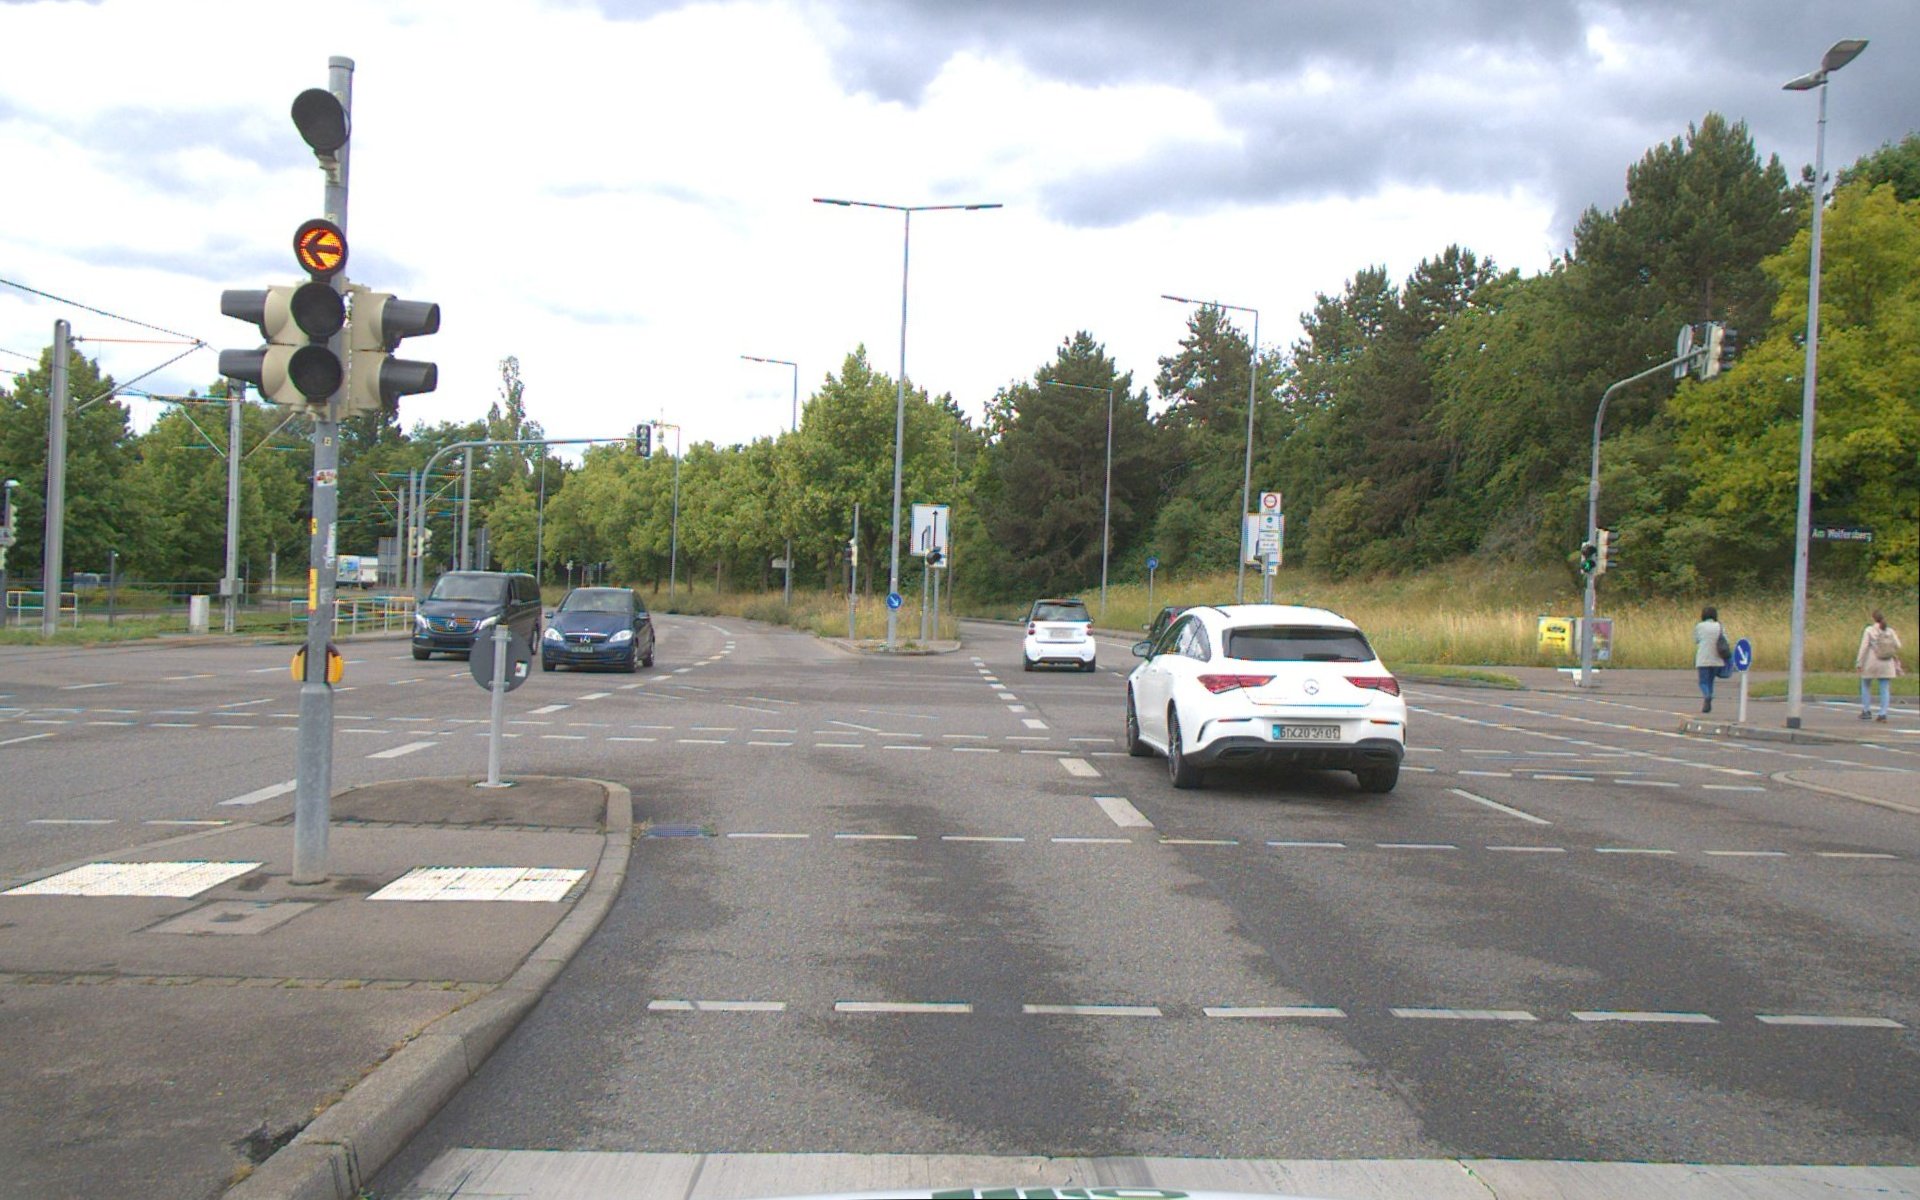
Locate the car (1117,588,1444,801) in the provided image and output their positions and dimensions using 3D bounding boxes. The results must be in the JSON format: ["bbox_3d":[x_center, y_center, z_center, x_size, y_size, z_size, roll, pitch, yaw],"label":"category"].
[{"bbox_3d":[2.565,0.703,14.354,1.807,1.533,4.529,1,0,-2],"label":"car"}]

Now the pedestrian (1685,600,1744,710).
[{"bbox_3d":[11.758,0.848,25.789,0.630,1.691,0.714,1,-1,6],"label":"pedestrian"}]

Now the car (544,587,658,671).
[{"bbox_3d":[-6.971,0.541,32.409,1.702,1.535,3.656,1,0,-5],"label":"car"}]

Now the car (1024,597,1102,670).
[{"bbox_3d":[2.256,0.729,36.792,1.559,1.543,2.766,1,0,0],"label":"car"}]

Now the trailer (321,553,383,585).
[{"bbox_3d":[-61.661,-3.138,167.772,5.956,3.065,2.749,1,-1,31],"label":"trailer"}]

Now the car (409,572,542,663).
[{"bbox_3d":[-10.518,0.348,36.251,1.851,1.844,5.086,0,0,-5],"label":"car"}]

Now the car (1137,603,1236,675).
[{"bbox_3d":[4.902,0.817,36.259,1.580,1.479,3.881,1,0,-1],"label":"car"}]

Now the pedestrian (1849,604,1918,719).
[{"bbox_3d":[13.519,0.887,24.215,0.630,1.640,0.714,1,-1,5],"label":"pedestrian"}]
